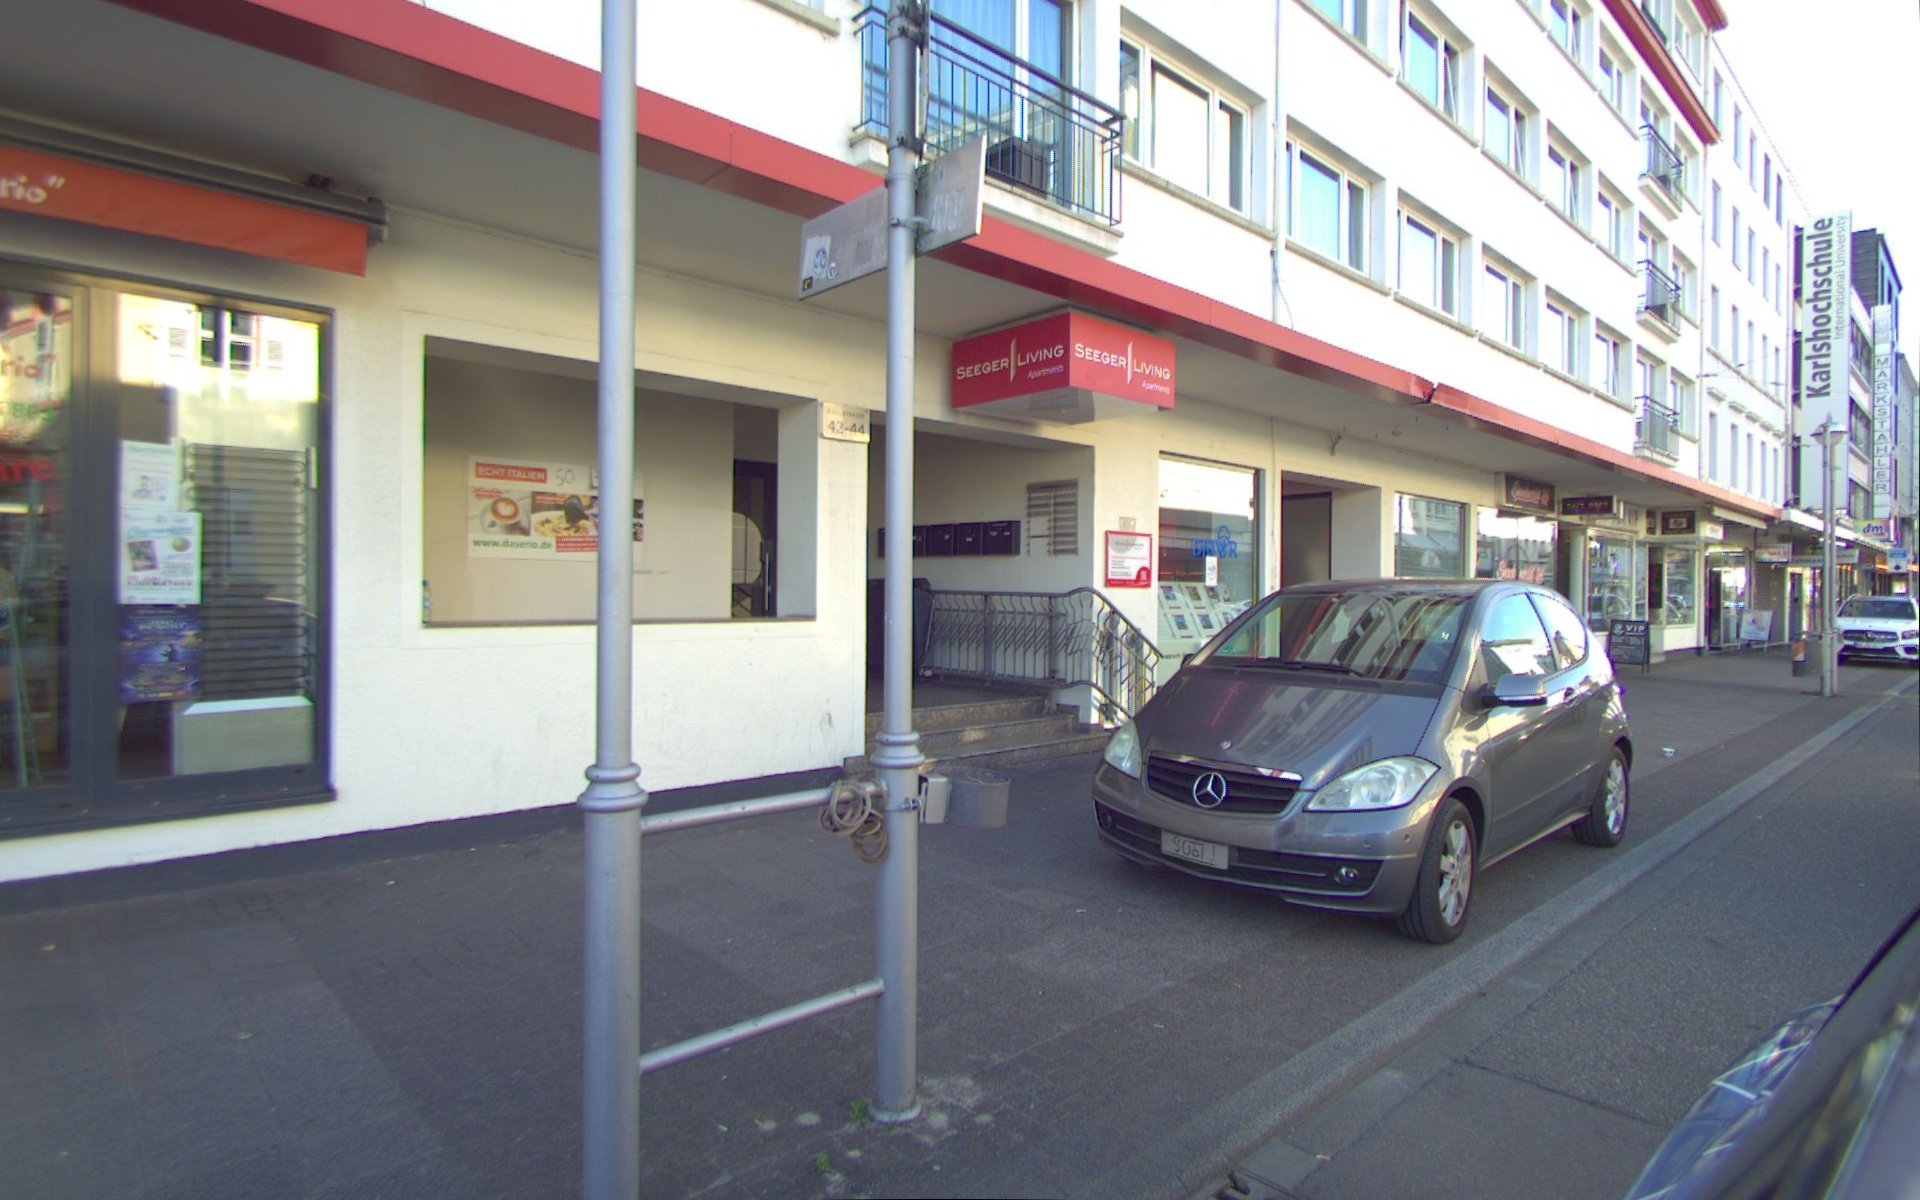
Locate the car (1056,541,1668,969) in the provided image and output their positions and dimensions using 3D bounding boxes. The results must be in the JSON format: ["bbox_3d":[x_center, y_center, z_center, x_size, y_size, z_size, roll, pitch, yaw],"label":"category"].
[{"bbox_3d":[2.472,0.570,5.672,3.932,1.565,1.681,0,0,-43],"label":"car"}]

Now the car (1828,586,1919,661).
[{"bbox_3d":[22.392,0.522,24.354,1.994,1.650,3.935,1,1,45],"label":"car"}]
